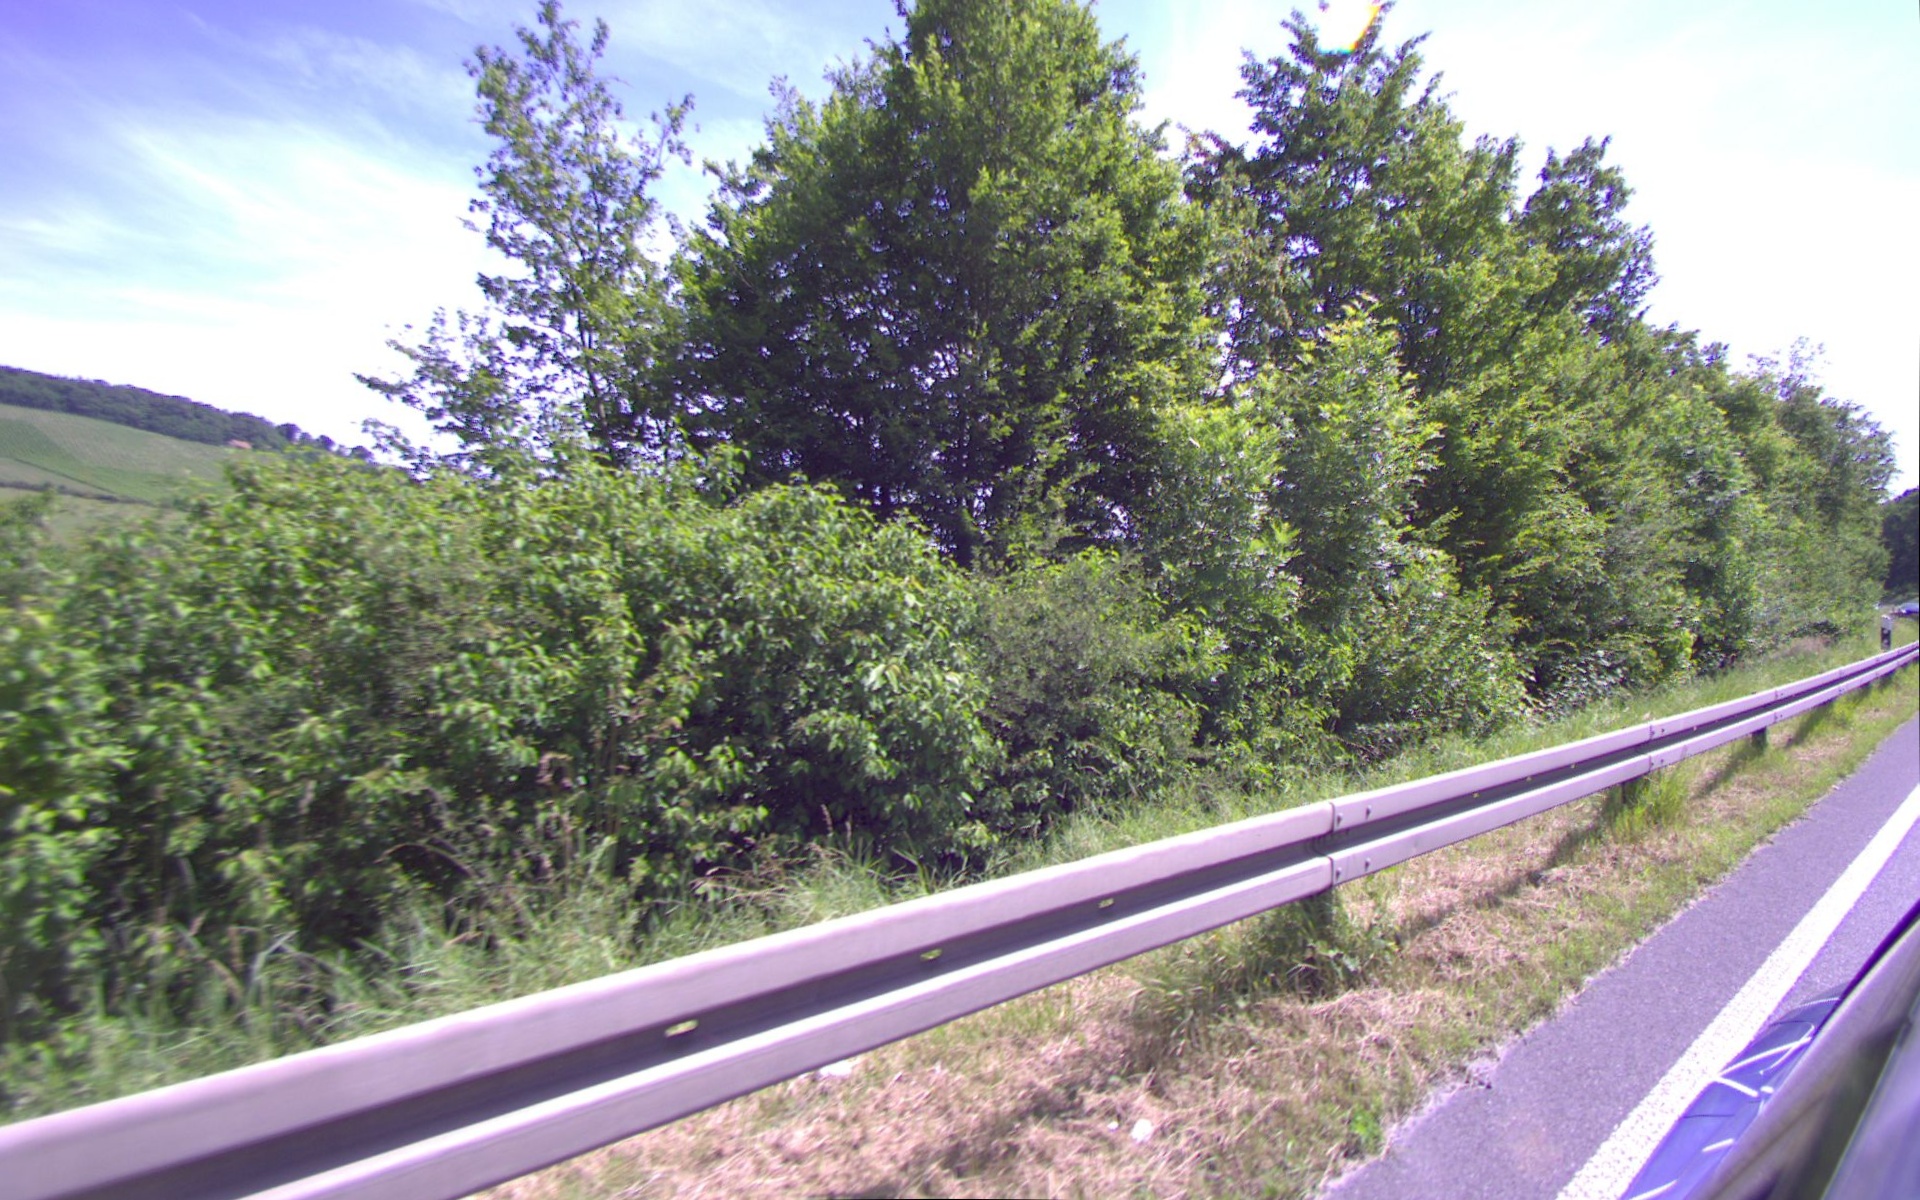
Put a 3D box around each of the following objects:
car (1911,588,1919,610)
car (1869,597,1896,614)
[{"bbox_3d":[92.359,-0.135,96.784,1.992,2.039,3.939,-1,-1,42],"label":"car"},{"bbox_3d":[113.797,0.709,124.825,1.988,2.039,3.947,-1,0,36],"label":"car"}]
